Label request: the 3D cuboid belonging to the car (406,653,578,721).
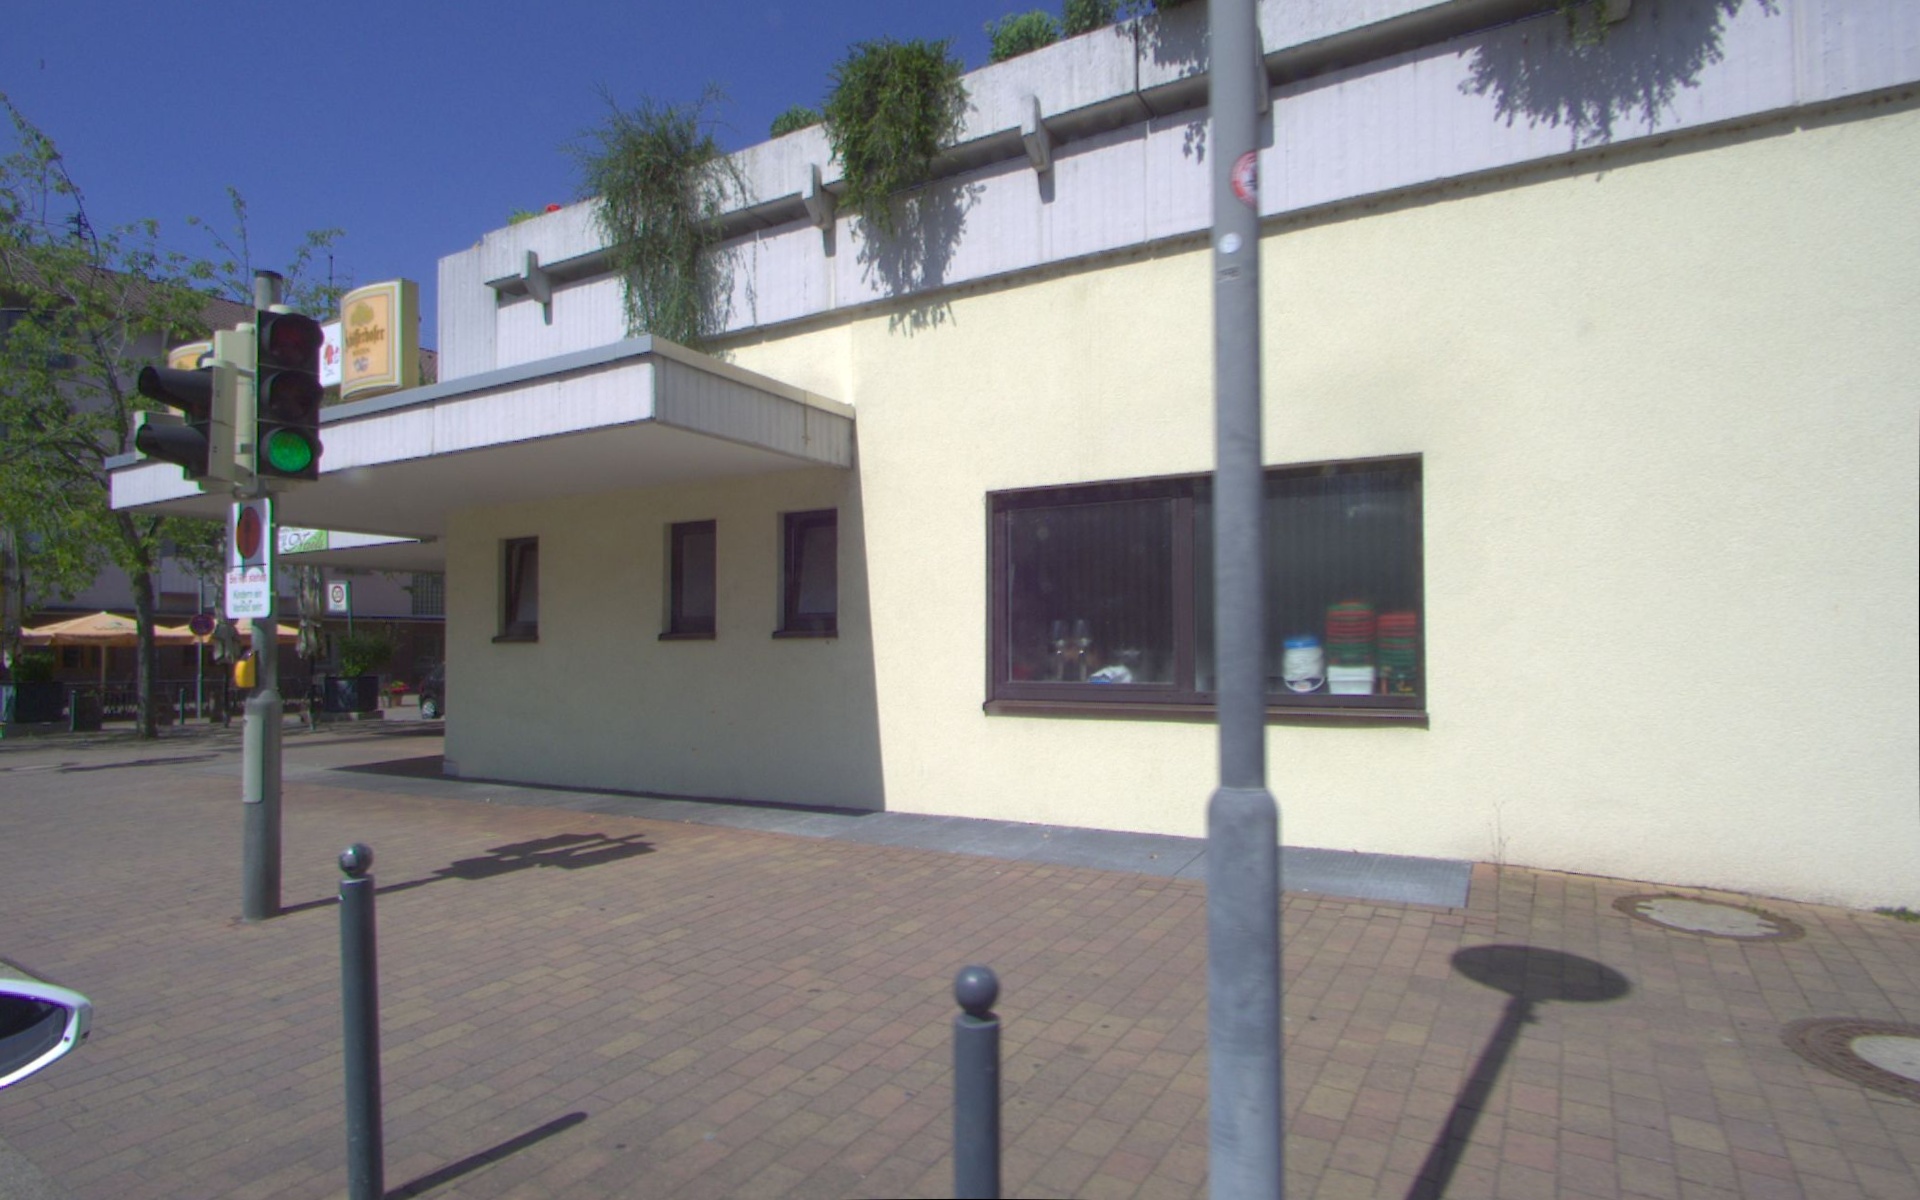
[{"bbox_3d":[-11.332,2.081,24.233,3.910,1.528,1.767,-2,-4,27],"label":"car"}]
